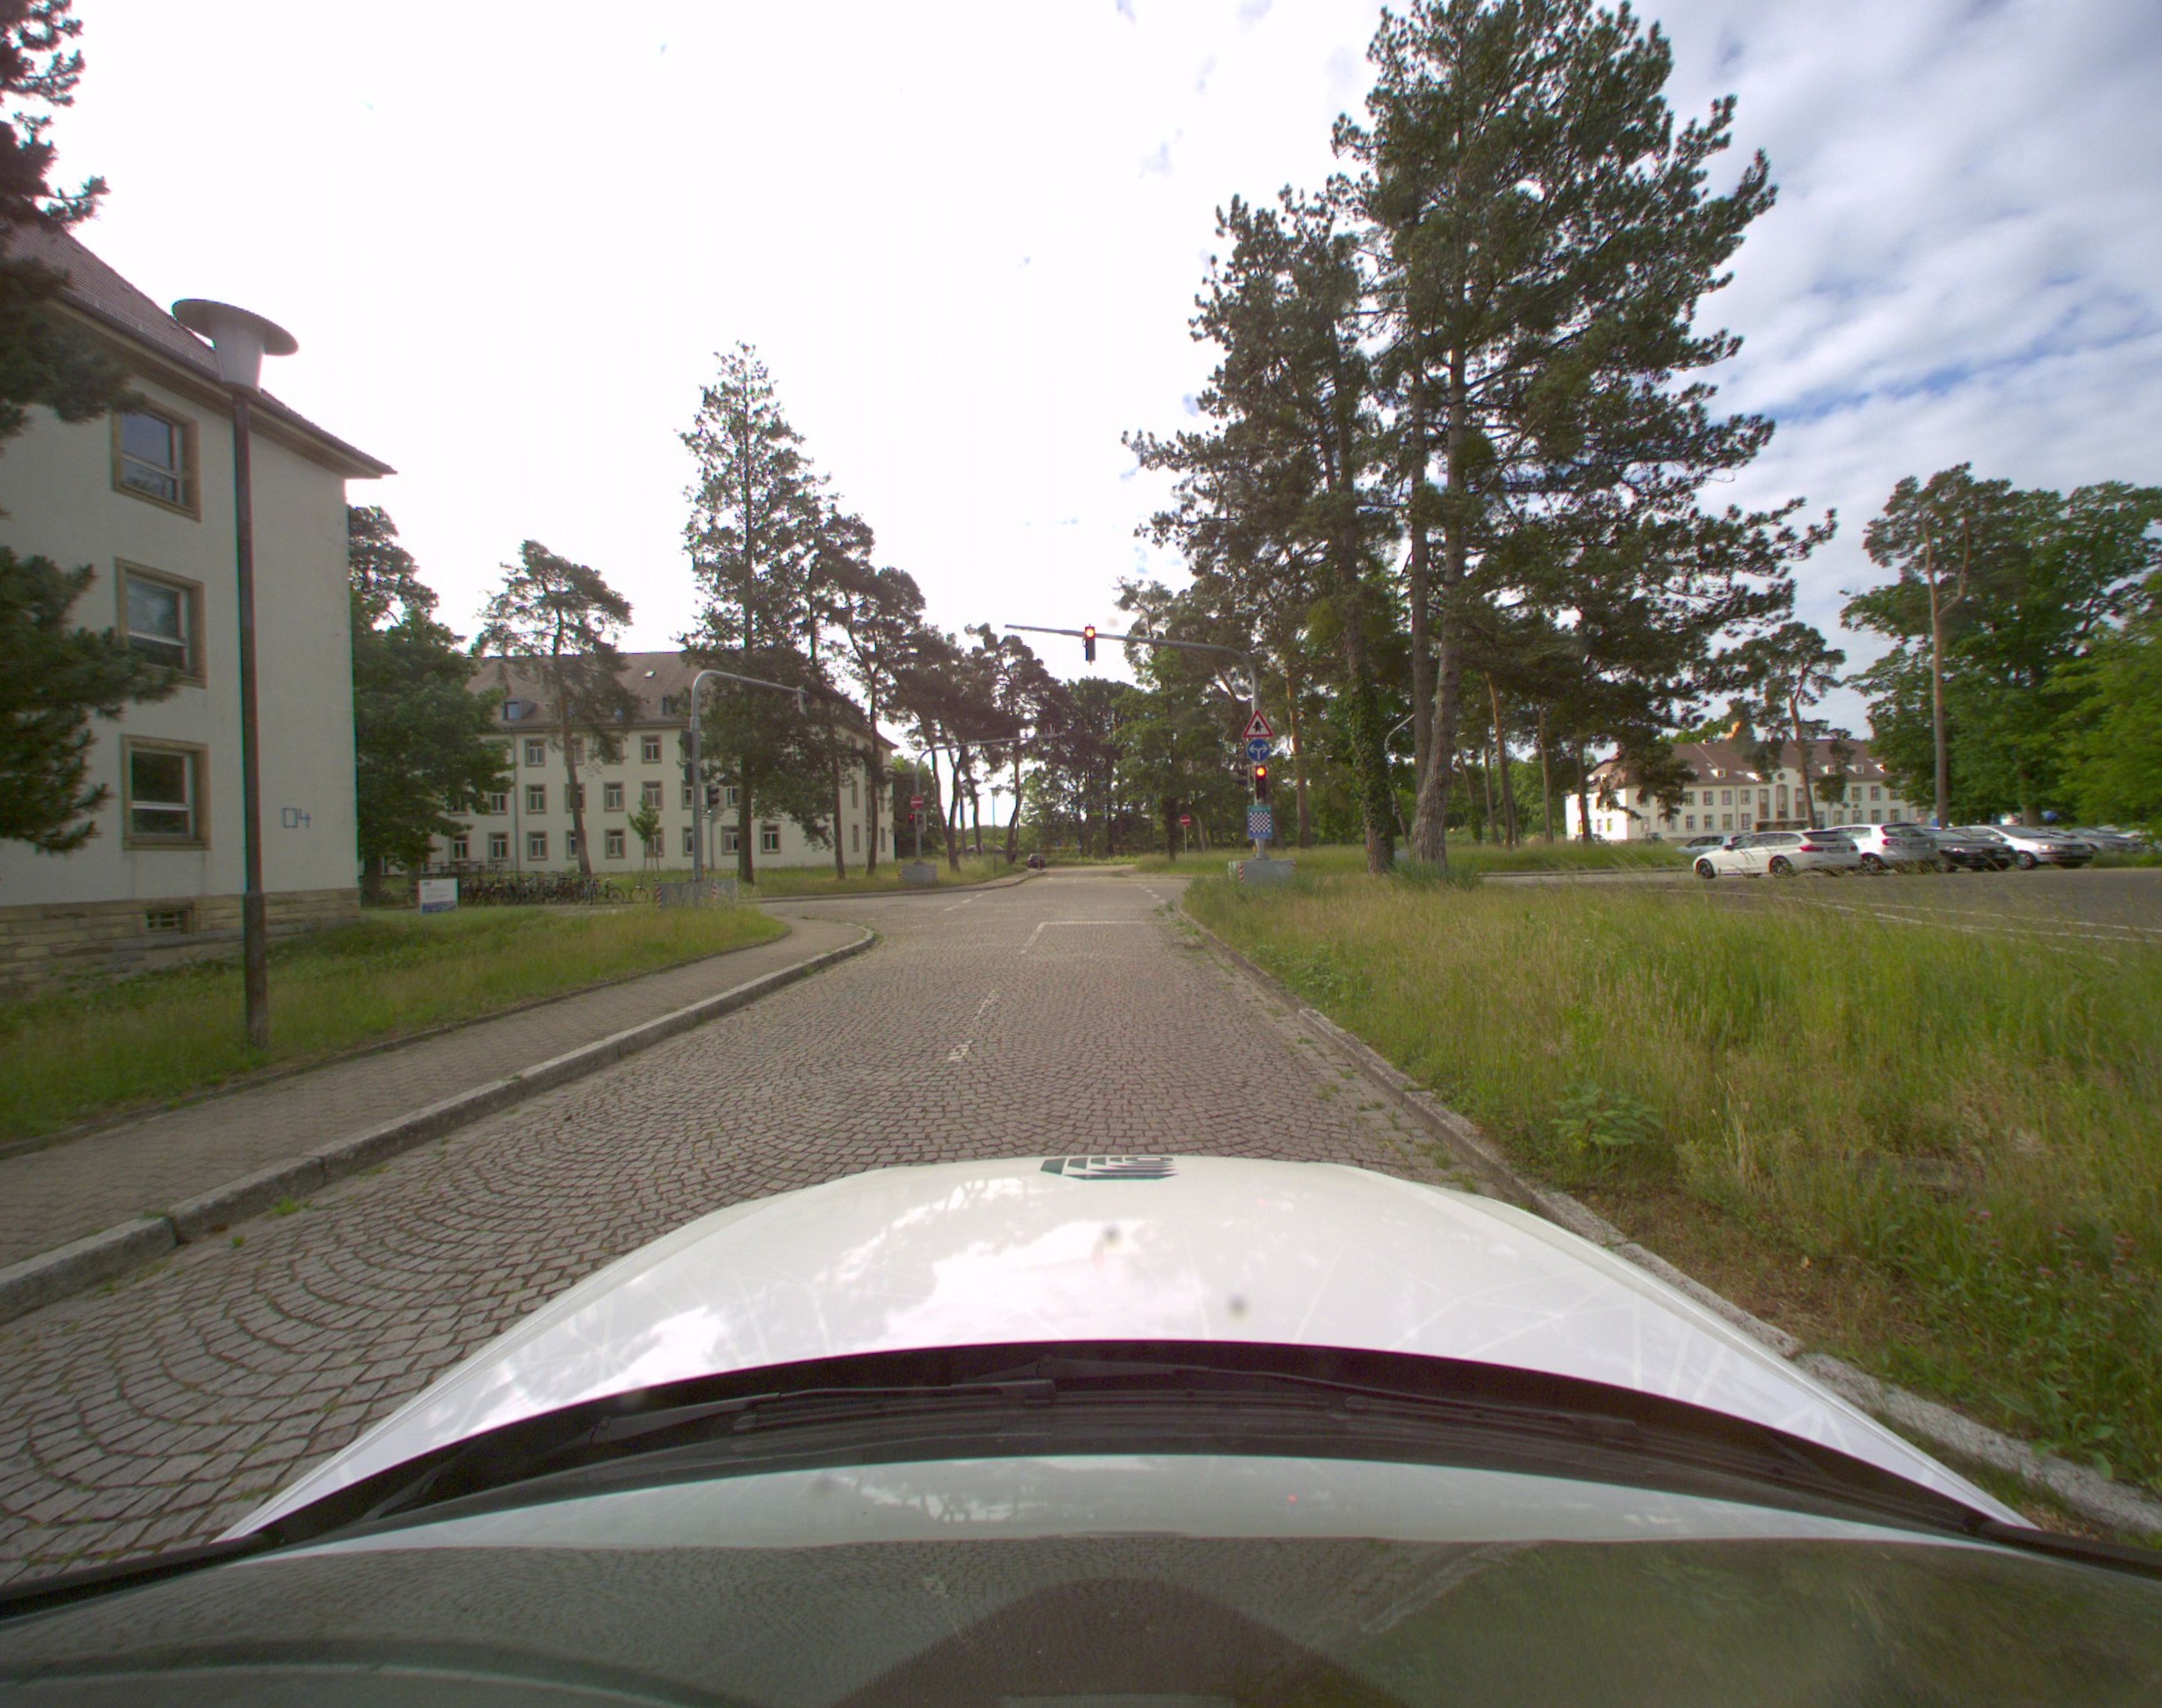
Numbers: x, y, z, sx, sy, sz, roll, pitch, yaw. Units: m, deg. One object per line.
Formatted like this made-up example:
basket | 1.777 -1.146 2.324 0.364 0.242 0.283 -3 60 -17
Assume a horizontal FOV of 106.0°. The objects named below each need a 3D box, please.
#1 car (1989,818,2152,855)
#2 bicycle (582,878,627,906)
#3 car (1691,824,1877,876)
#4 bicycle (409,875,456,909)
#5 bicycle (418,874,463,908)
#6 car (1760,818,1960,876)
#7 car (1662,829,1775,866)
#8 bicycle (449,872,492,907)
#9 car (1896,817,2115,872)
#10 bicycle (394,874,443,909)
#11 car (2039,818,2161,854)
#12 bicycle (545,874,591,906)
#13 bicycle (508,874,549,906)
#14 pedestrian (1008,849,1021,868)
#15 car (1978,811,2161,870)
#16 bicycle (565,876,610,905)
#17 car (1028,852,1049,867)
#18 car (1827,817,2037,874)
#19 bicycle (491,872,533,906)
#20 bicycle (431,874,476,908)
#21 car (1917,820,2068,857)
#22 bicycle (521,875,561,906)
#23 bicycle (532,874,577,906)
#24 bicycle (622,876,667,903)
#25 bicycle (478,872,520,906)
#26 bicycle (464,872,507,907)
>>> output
car | 43.859 -0.739 36.283 1.748 1.524 4.443 -2 0 -3
bicycle | -18.306 1.463 31.294 1.454 0.996 0.452 -2 0 1
car | 21.440 -0.096 25.109 1.748 1.415 4.443 -2 -1 -3
bicycle | -26.024 1.501 32.732 0.441 1.283 1.784 -2 0 -1
bicycle | -25.556 1.466 32.538 0.447 1.283 1.695 -2 0 -1
car | 24.018 -0.205 25.387 1.862 1.577 4.443 -2 0 -3
car | 28.797 -0.279 37.000 1.746 1.524 4.450 -2 0 2
bicycle | -24.405 1.404 32.585 0.447 1.283 1.695 -2 0 -1
car | 29.379 -0.285 26.137 1.862 1.577 4.443 -2 0 -3
bicycle | -26.489 1.476 32.596 0.447 1.283 1.827 -2 0 -1
car | 46.870 -0.811 36.837 1.748 1.524 4.443 -2 0 -3
bicycle | -20.527 1.422 32.646 0.573 1.178 1.953 -2 0 -1
bicycle | -22.109 1.436 32.603 0.447 1.178 1.695 -2 0 -1
pedestrian | -6.809 0.406 83.199 1.206 1.890 0.748 -2 0 2
car | 32.031 -0.425 25.968 1.862 1.686 4.443 -2 0 -3
bicycle | -19.832 1.455 32.746 0.573 1.078 1.996 -2 0 -1
car | -4.615 0.593 88.628 1.986 1.508 4.002 0 0 2
car | 26.534 -0.248 25.663 1.862 1.577 4.443 -2 0 -3
bicycle | -22.823 1.390 32.705 0.447 1.283 1.695 -2 0 -1
bicycle | -25.069 1.462 32.553 0.447 1.283 1.695 -2 0 -1
car | 40.995 -0.665 36.825 1.748 1.524 4.443 -2 0 -3
bicycle | -21.623 1.444 32.627 0.447 1.178 1.695 -2 0 -1
bicycle | -21.111 1.427 32.688 0.526 1.178 1.930 -2 0 -1
bicycle | -16.782 1.357 31.326 1.454 0.996 0.452 -2 0 1
bicycle | -23.327 1.394 32.659 0.447 1.283 1.695 -2 0 -1
bicycle | -23.842 1.399 32.612 0.447 1.283 1.695 -2 0 -1
